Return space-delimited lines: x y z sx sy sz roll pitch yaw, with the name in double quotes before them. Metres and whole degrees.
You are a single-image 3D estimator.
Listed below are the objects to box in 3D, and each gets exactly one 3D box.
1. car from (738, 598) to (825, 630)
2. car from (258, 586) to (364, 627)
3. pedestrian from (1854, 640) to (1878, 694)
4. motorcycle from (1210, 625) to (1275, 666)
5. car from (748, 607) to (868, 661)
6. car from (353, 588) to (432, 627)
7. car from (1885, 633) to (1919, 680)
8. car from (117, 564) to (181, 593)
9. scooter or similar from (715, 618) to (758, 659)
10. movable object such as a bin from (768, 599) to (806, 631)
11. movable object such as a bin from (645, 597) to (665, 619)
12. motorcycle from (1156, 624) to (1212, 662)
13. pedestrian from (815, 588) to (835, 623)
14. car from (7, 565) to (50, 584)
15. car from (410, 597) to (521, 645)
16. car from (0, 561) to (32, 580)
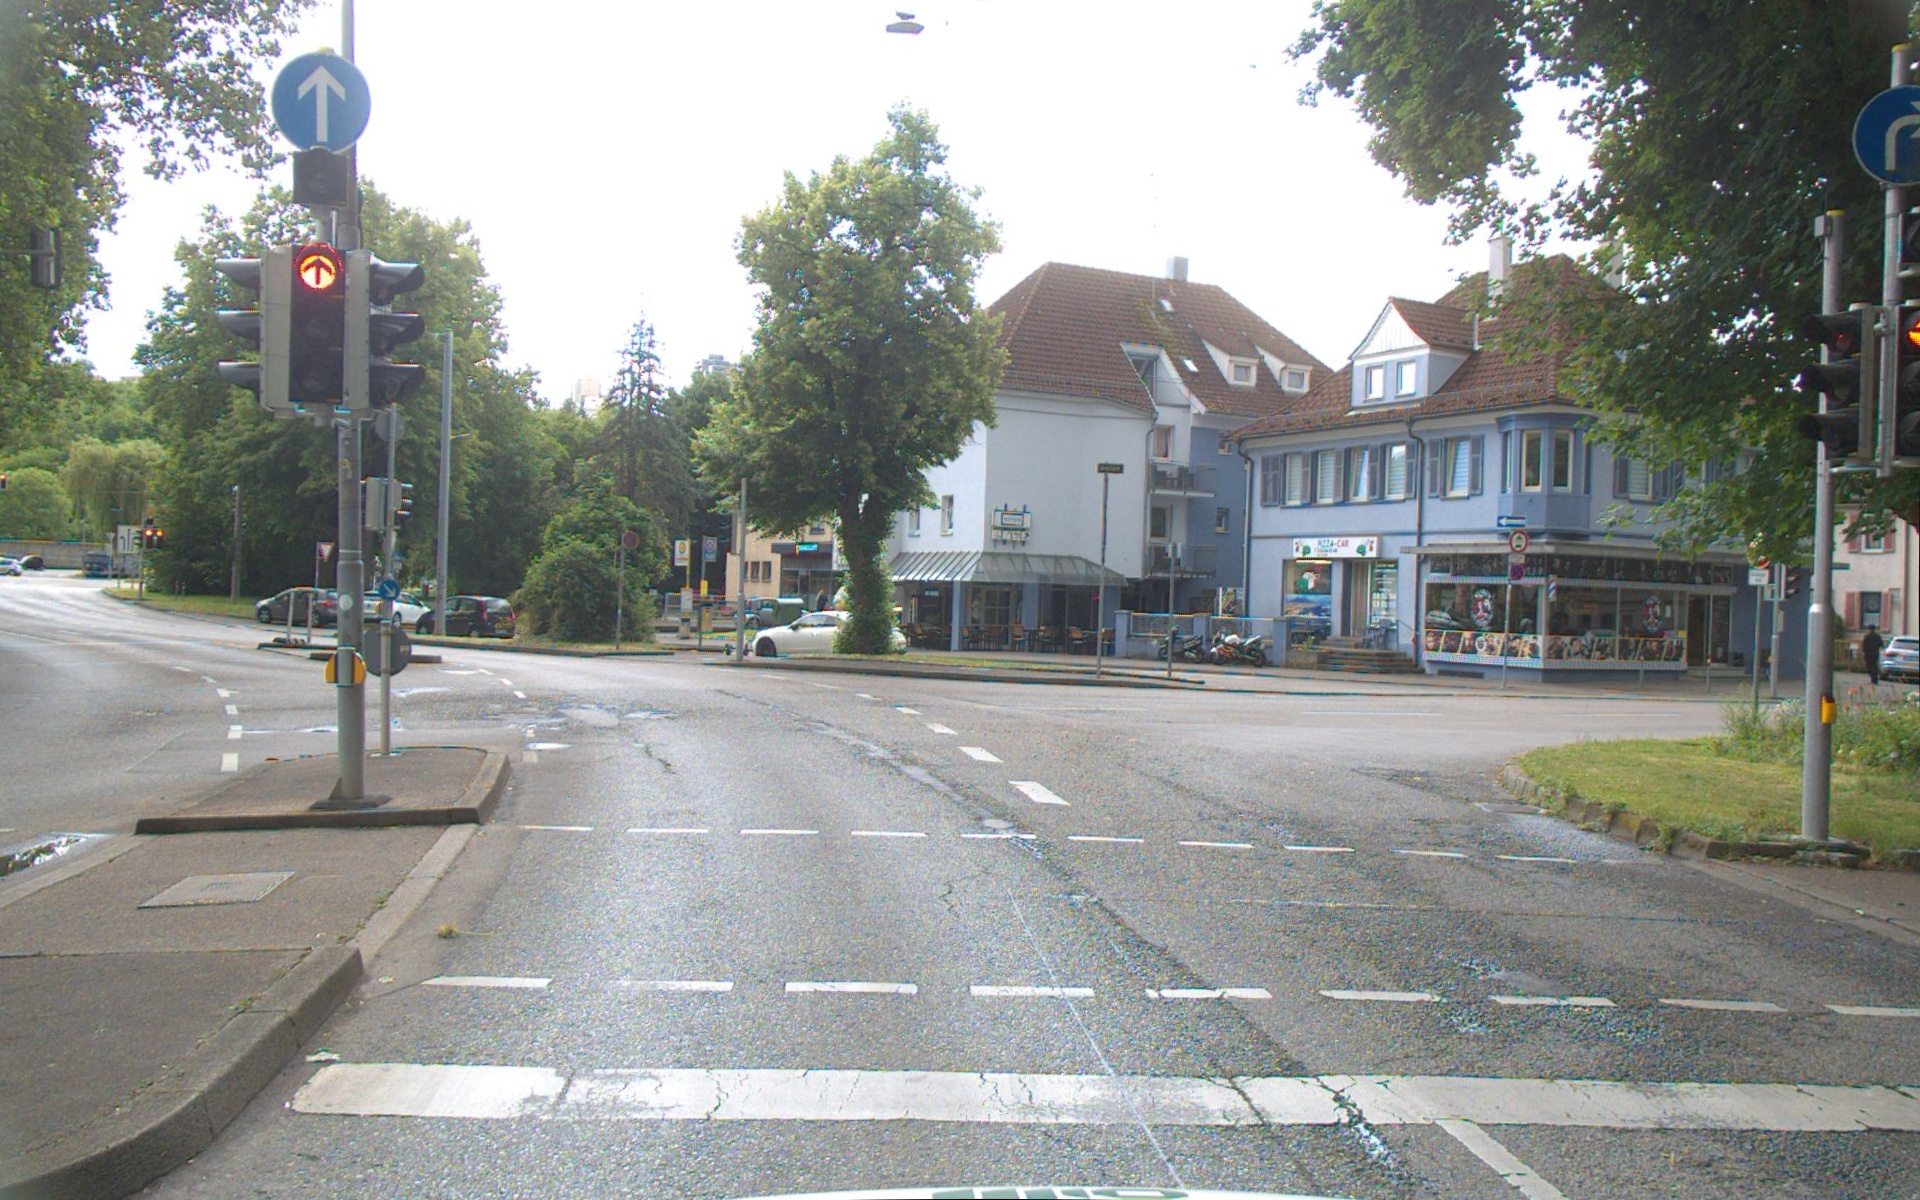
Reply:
"car" -8.156 0.652 75.726 3.690 1.368 1.421 1 0 -27
"car" -24.857 0.254 63.388 3.469 1.490 1.586 1 0 12
"pedestrian" 26.265 1.928 47.944 0.575 1.544 0.458 0 -1 33
"motorcycle" 8.275 1.316 48.475 1.765 1.141 0.692 1 0 38
"car" -4.242 0.923 45.952 3.110 1.378 1.435 1 0 34
"car" -22.666 0.316 66.178 1.512 1.490 3.398 1 0 10
"car" 29.854 1.744 51.408 1.471 1.393 3.164 1 0 38
"car" -59.825 -1.544 122.043 3.923 2.049 1.855 1 0 -17
"scooter or similar" -5.728 0.988 42.536 0.408 1.029 1.567 1 0 20
"movable object such as a bin" -7.716 0.668 73.836 1.424 1.433 0.959 1 0 -27
"movable object such as a bin" -15.851 0.407 85.909 0.937 1.135 0.381 1 0 -22
"motorcycle" 6.795 1.300 50.231 1.609 1.082 0.690 1 0 44
"pedestrian" -6.270 0.254 76.751 0.670 1.572 0.699 2 0 -35
"car" -102.213 -2.798 181.485 3.948 2.049 1.978 1 0 -32
"car" -16.005 0.667 53.456 3.519 1.418 1.468 1 0 32
"car" -83.222 -2.618 144.171 3.936 1.578 1.854 1 0 -25
